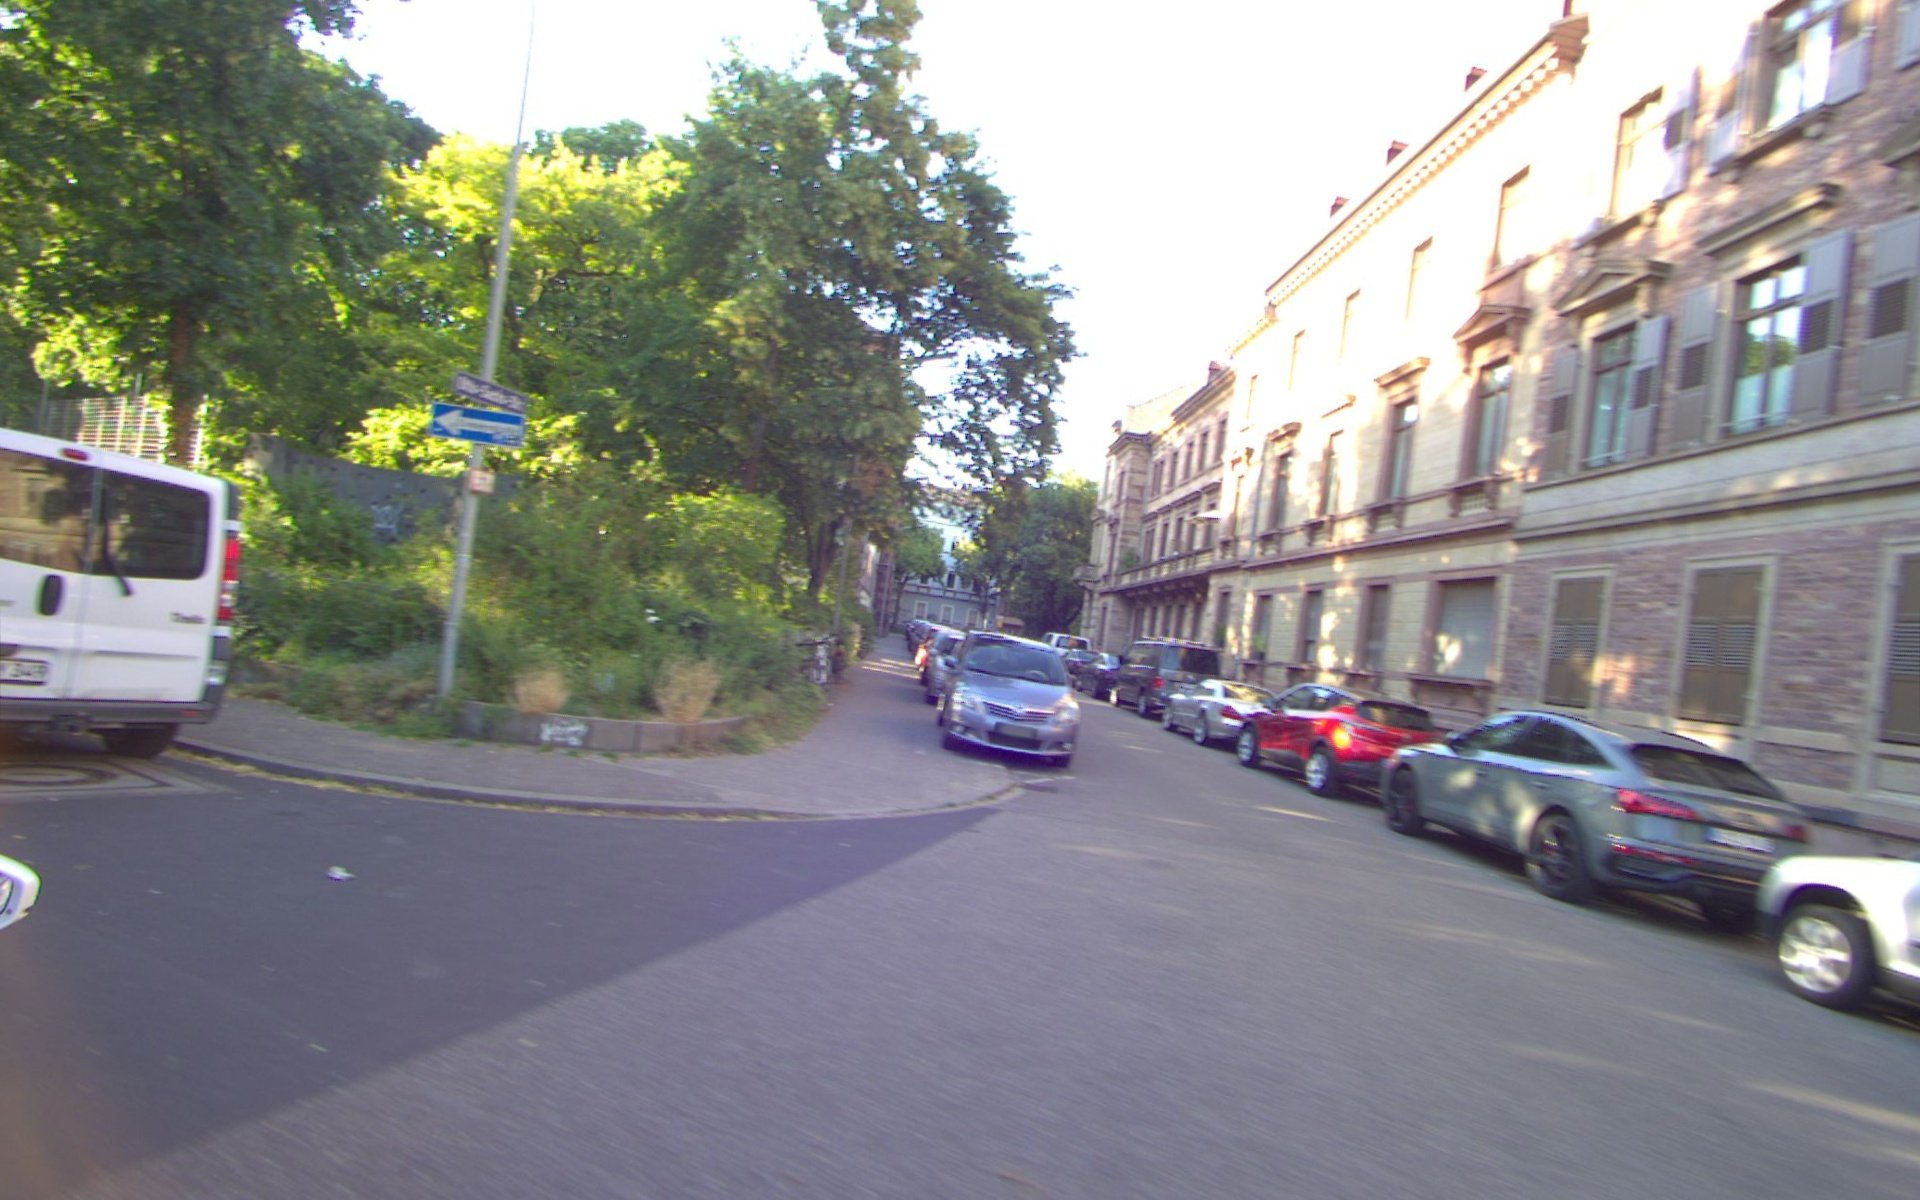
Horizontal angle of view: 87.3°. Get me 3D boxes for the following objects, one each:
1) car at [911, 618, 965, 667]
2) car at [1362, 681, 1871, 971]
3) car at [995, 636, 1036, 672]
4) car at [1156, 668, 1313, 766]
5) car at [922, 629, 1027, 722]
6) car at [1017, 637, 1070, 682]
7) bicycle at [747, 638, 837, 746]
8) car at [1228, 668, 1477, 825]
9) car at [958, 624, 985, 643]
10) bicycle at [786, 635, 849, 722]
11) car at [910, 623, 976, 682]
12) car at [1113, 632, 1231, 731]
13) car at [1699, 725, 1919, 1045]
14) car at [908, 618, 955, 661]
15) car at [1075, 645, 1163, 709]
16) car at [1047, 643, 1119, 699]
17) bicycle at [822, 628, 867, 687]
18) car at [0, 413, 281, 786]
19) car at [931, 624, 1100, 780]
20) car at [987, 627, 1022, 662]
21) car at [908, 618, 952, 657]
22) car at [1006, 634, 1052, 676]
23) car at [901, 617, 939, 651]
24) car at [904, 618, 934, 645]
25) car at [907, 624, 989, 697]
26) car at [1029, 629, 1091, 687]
[{"bbox_3d":[-0.927,1.653,39.780,1.800,1.516,3.931,11,-2,-2],"label":"car"},{"bbox_3d":[6.099,1.973,10.207,1.800,1.742,4.544,11,-2,-2],"label":"car"},{"bbox_3d":[3.278,3.209,60.025,1.772,1.747,3.955,10,-2,-3],"label":"car"},{"bbox_3d":[5.488,2.302,20.634,1.772,1.360,3.955,10,-2,-3],"label":"car"},{"bbox_3d":[0.207,1.519,21.408,1.800,1.463,3.931,11,-2,-2],"label":"car"},{"bbox_3d":[4.037,2.886,49.287,1.772,1.777,3.955,10,-2,-3],"label":"car"},{"bbox_3d":[-2.014,1.067,12.429,0.588,1.114,2.628,7,-2,-1],"label":"bicycle"},{"bbox_3d":[5.810,2.107,15.494,1.773,1.632,3.953,10,-2,-5],"label":"car"},{"bbox_3d":[1.208,3.511,105.307,1.967,1.701,3.999,9,-3,-8],"label":"car"},{"bbox_3d":[-2.103,1.128,15.146,0.588,1.114,2.627,7,-2,-3],"label":"bicycle"},{"bbox_3d":[-0.604,1.668,33.012,1.800,1.516,3.931,11,-2,-2],"label":"car"},{"bbox_3d":[5.468,2.045,26.493,1.772,2.095,3.955,10,-2,-3],"label":"car"},{"bbox_3d":[6.500,1.844,5.199,1.889,1.674,4.187,11,-2,-3],"label":"car"},{"bbox_3d":[-1.312,1.742,44.994,1.800,1.516,3.931,11,-2,-2],"label":"car"},{"bbox_3d":[4.980,2.390,32.096,1.772,1.540,3.955,10,-2,-3],"label":"car"},{"bbox_3d":[4.552,2.598,37.679,1.772,1.640,3.955,10,-2,-3],"label":"car"},{"bbox_3d":[-2.452,1.202,21.652,0.588,1.114,2.628,7,-2,-1],"label":"bicycle"},{"bbox_3d":[-7.150,-0.203,6.753,4.574,2.027,1.951,7,-1,23],"label":"car"},{"bbox_3d":[0.630,1.327,14.665,1.800,1.632,4.292,11,-2,-2],"label":"car"},{"bbox_3d":[3.042,3.043,69.439,1.772,2.039,3.955,10,-2,-3],"label":"car"},{"bbox_3d":[-1.505,1.827,49.424,1.800,1.516,3.931,11,-2,-2],"label":"car"},{"bbox_3d":[3.719,2.935,54.712,1.772,1.859,3.955,10,-2,-3],"label":"car"},{"bbox_3d":[-2.222,1.832,55.139,1.799,1.517,3.931,9,-2,-2],"label":"car"},{"bbox_3d":[-2.868,2.200,70.780,1.800,1.516,3.931,11,-2,-2],"label":"car"},{"bbox_3d":[-0.377,1.556,26.826,1.800,1.494,3.931,11,-2,-2],"label":"car"},{"bbox_3d":[4.259,2.450,43.384,1.772,2.095,3.955,10,-2,-3],"label":"car"}]
